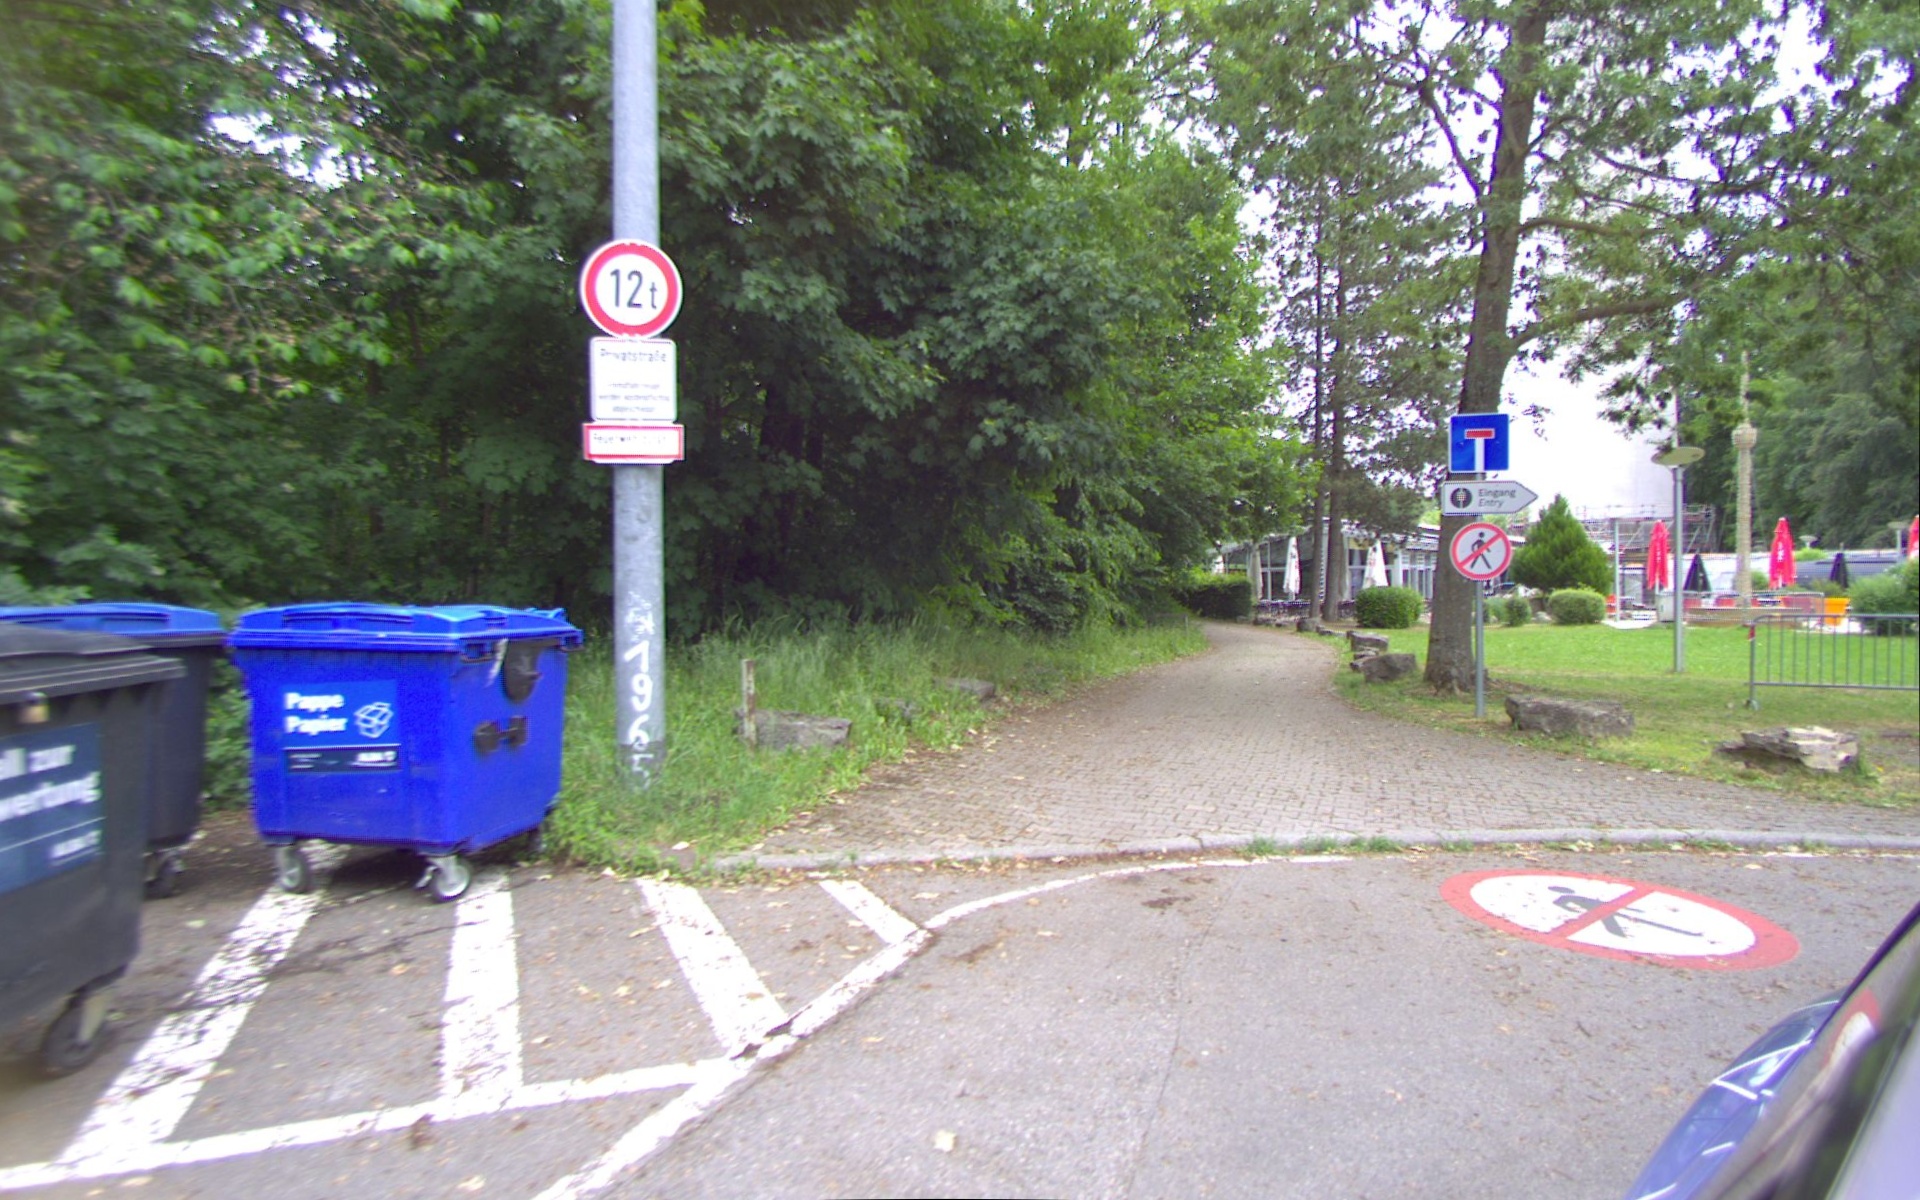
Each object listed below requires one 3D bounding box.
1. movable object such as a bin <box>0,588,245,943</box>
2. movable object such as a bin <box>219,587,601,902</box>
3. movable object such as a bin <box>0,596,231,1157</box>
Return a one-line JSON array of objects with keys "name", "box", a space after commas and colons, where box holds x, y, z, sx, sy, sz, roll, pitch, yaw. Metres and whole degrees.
[{"name": "movable object such as a bin", "box": [-4.066, 0.623, 4.336, 1.112, 1.336, 1.232, 0, 1, 19]}, {"name": "movable object such as a bin", "box": [-2.646, 0.612, 5.022, 1.237, 1.341, 1.143, 0, 1, 11]}, {"name": "movable object such as a bin", "box": [-2.889, 0.664, 2.599, 1.149, 1.323, 1.315, 0, 1, -6]}]
